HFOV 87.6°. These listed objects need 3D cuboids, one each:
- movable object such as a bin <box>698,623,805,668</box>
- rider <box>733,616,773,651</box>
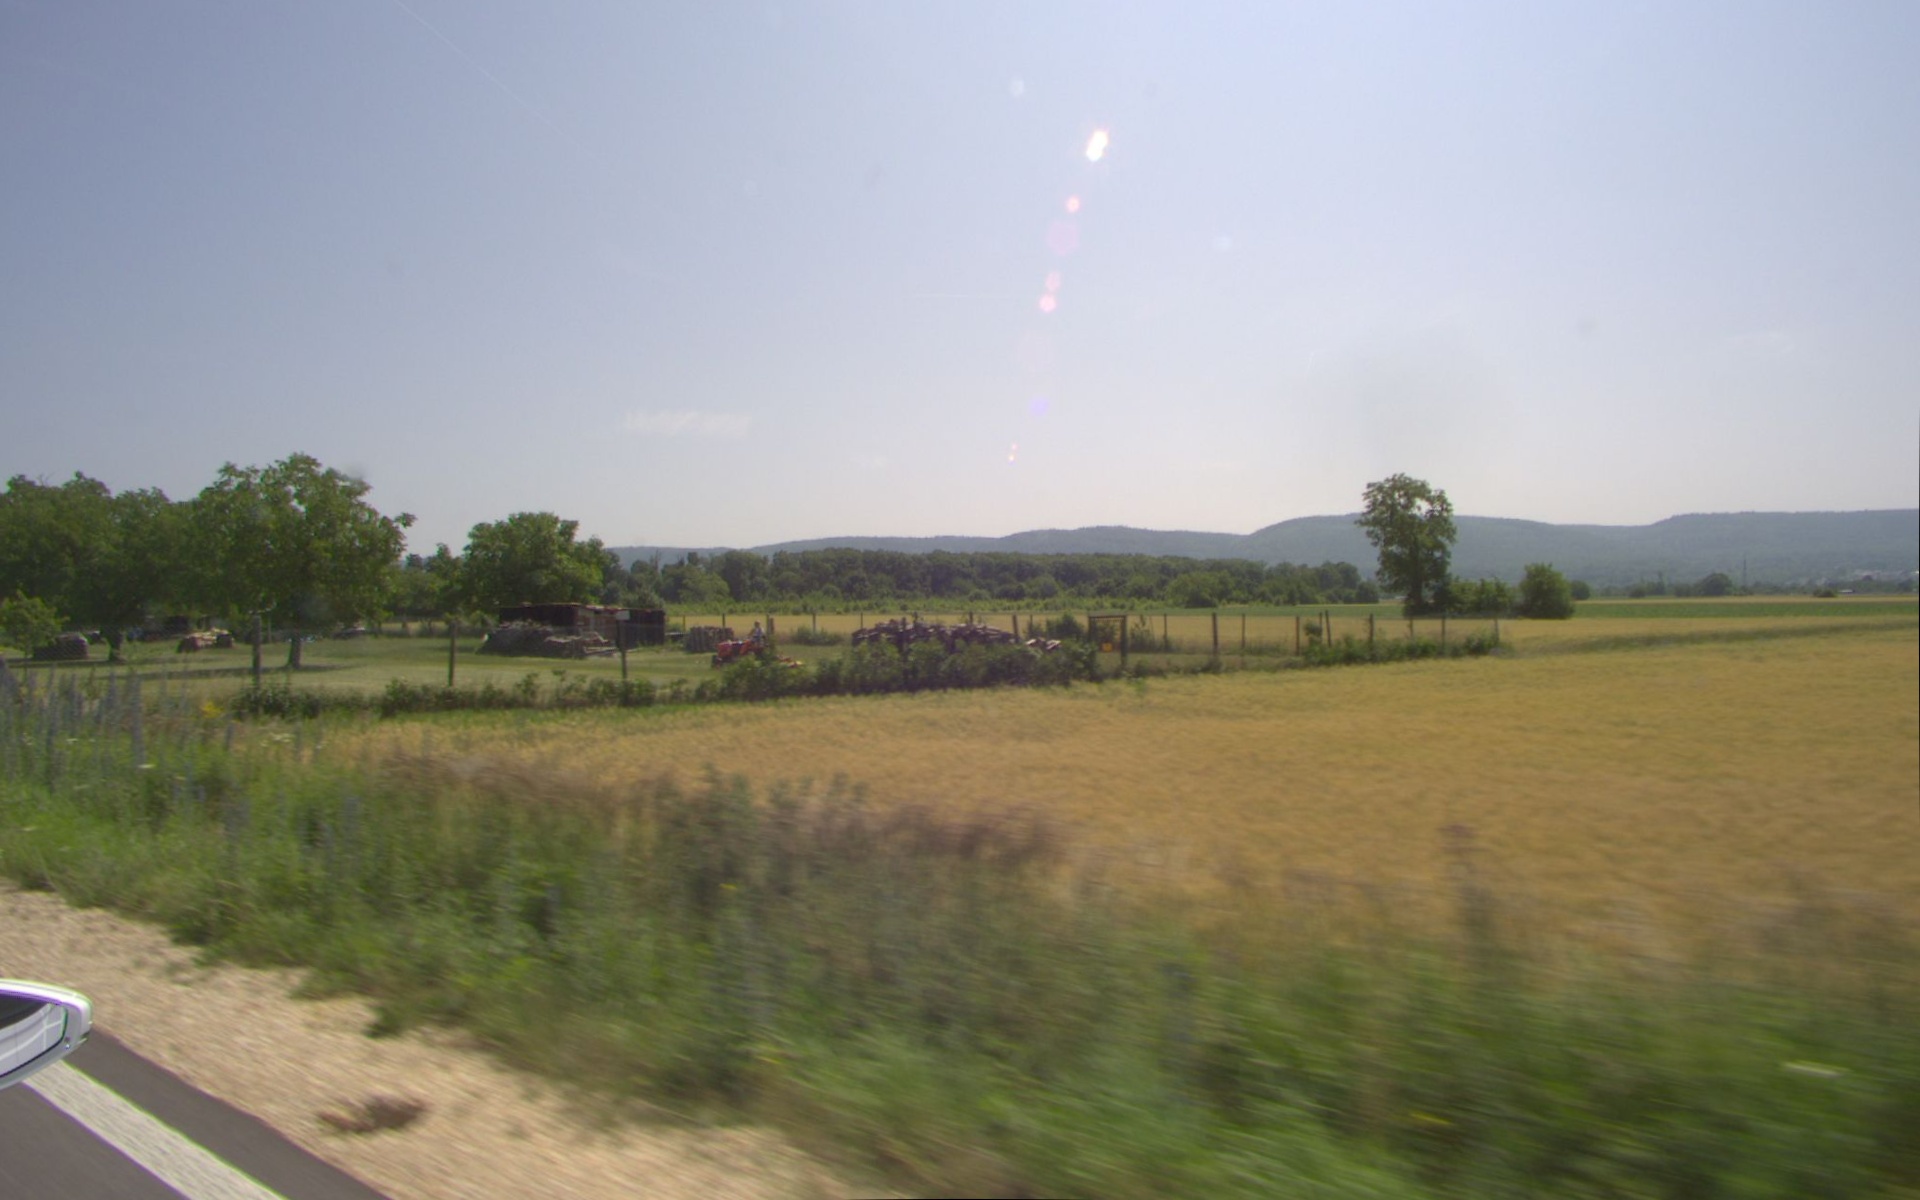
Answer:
[{"bbox_3d":[-7.478,1.601,35.874,3.602,1.516,1.569,-1,0,28],"label":"movable object such as a bin"},{"bbox_3d":[-7.413,1.200,35.867,0.970,1.233,1.024,0,0,26],"label":"rider"}]
